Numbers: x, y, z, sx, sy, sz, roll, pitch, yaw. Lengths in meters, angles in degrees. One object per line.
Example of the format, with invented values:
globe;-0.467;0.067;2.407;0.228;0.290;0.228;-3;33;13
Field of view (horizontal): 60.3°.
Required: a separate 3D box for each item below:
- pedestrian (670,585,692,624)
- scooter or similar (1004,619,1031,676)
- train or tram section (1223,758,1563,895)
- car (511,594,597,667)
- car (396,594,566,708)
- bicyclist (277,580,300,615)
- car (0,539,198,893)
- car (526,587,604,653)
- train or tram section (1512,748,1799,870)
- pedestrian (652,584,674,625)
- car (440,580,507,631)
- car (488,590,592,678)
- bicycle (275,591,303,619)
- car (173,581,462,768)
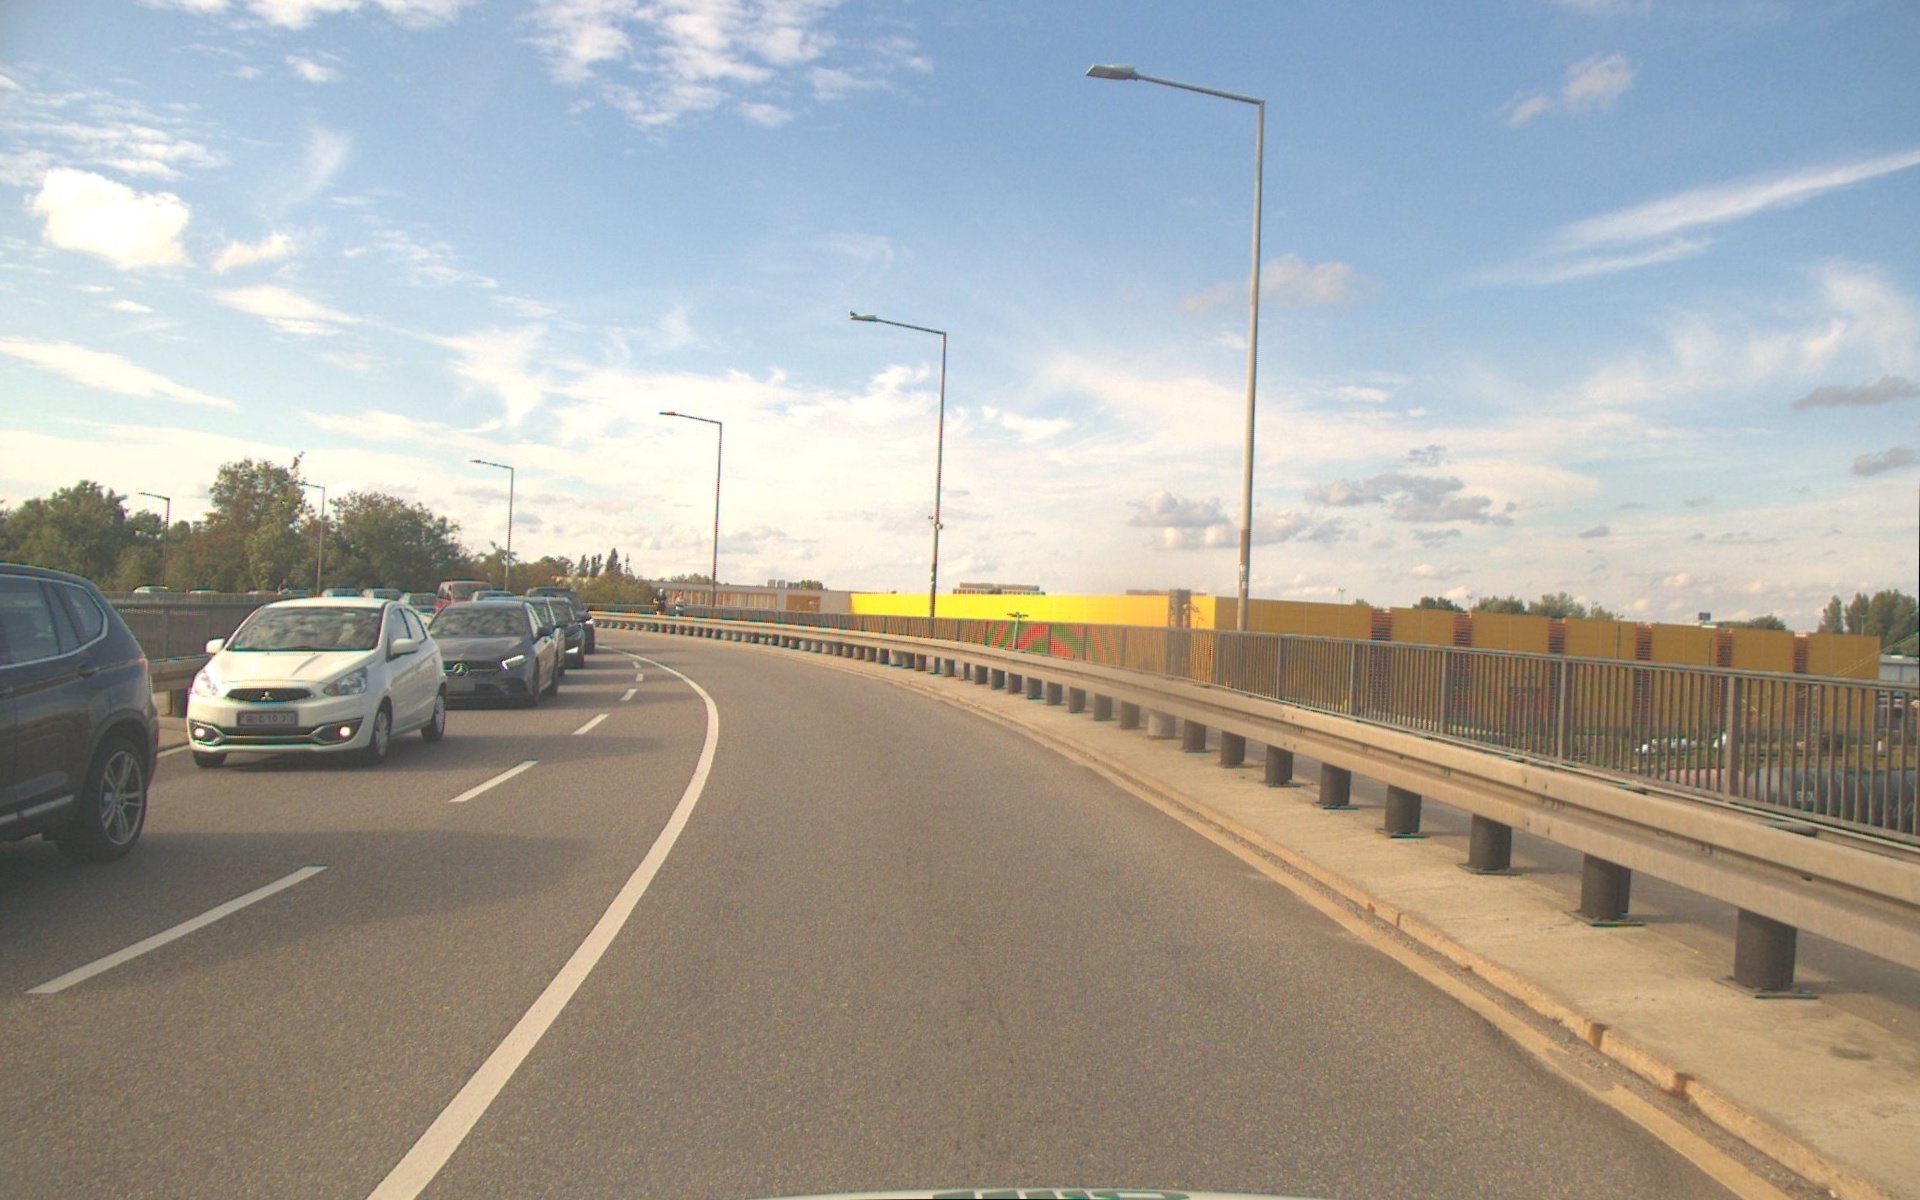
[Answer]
pedestrian;-11.473;0.195;68.091;0.668;1.571;0.953;1;-1;-24
scooter or similar;1.201;0.985;34.850;0.261;1.182;1.184;1;-1;-13
train or tram section;19.080;9.624;71.946;16.495;4.795;3.070;1;-1;-27
car;-9.004;0.639;36.696;1.730;1.516;4.429;0;0;-14
car;-6.748;0.668;23.690;1.779;1.482;4.316;0;0;-9
bicyclist;-32.424;-0.116;79.898;0.761;1.690;1.105;1;-1;-37
car;-5.517;0.560;7.875;1.832;1.695;4.627;0;0;-3
car;-10.961;0.531;45.663;1.800;1.701;4.843;1;0;-17
train or tram section;33.713;9.857;79.598;16.501;4.795;3.068;1;-1;-28
pedestrian;-12.169;0.184;67.725;0.668;1.690;0.859;1;-1;-24
car;-19.125;0.203;64.887;1.980;1.937;4.832;1;0;-23
car;-7.821;0.590;30.871;1.730;1.516;4.375;0;0;-14
bicycle;-32.398;0.244;79.846;0.758;1.355;1.891;1;-1;-37
car;-6.011;0.624;15.941;1.651;1.572;3.917;0;0;-7
